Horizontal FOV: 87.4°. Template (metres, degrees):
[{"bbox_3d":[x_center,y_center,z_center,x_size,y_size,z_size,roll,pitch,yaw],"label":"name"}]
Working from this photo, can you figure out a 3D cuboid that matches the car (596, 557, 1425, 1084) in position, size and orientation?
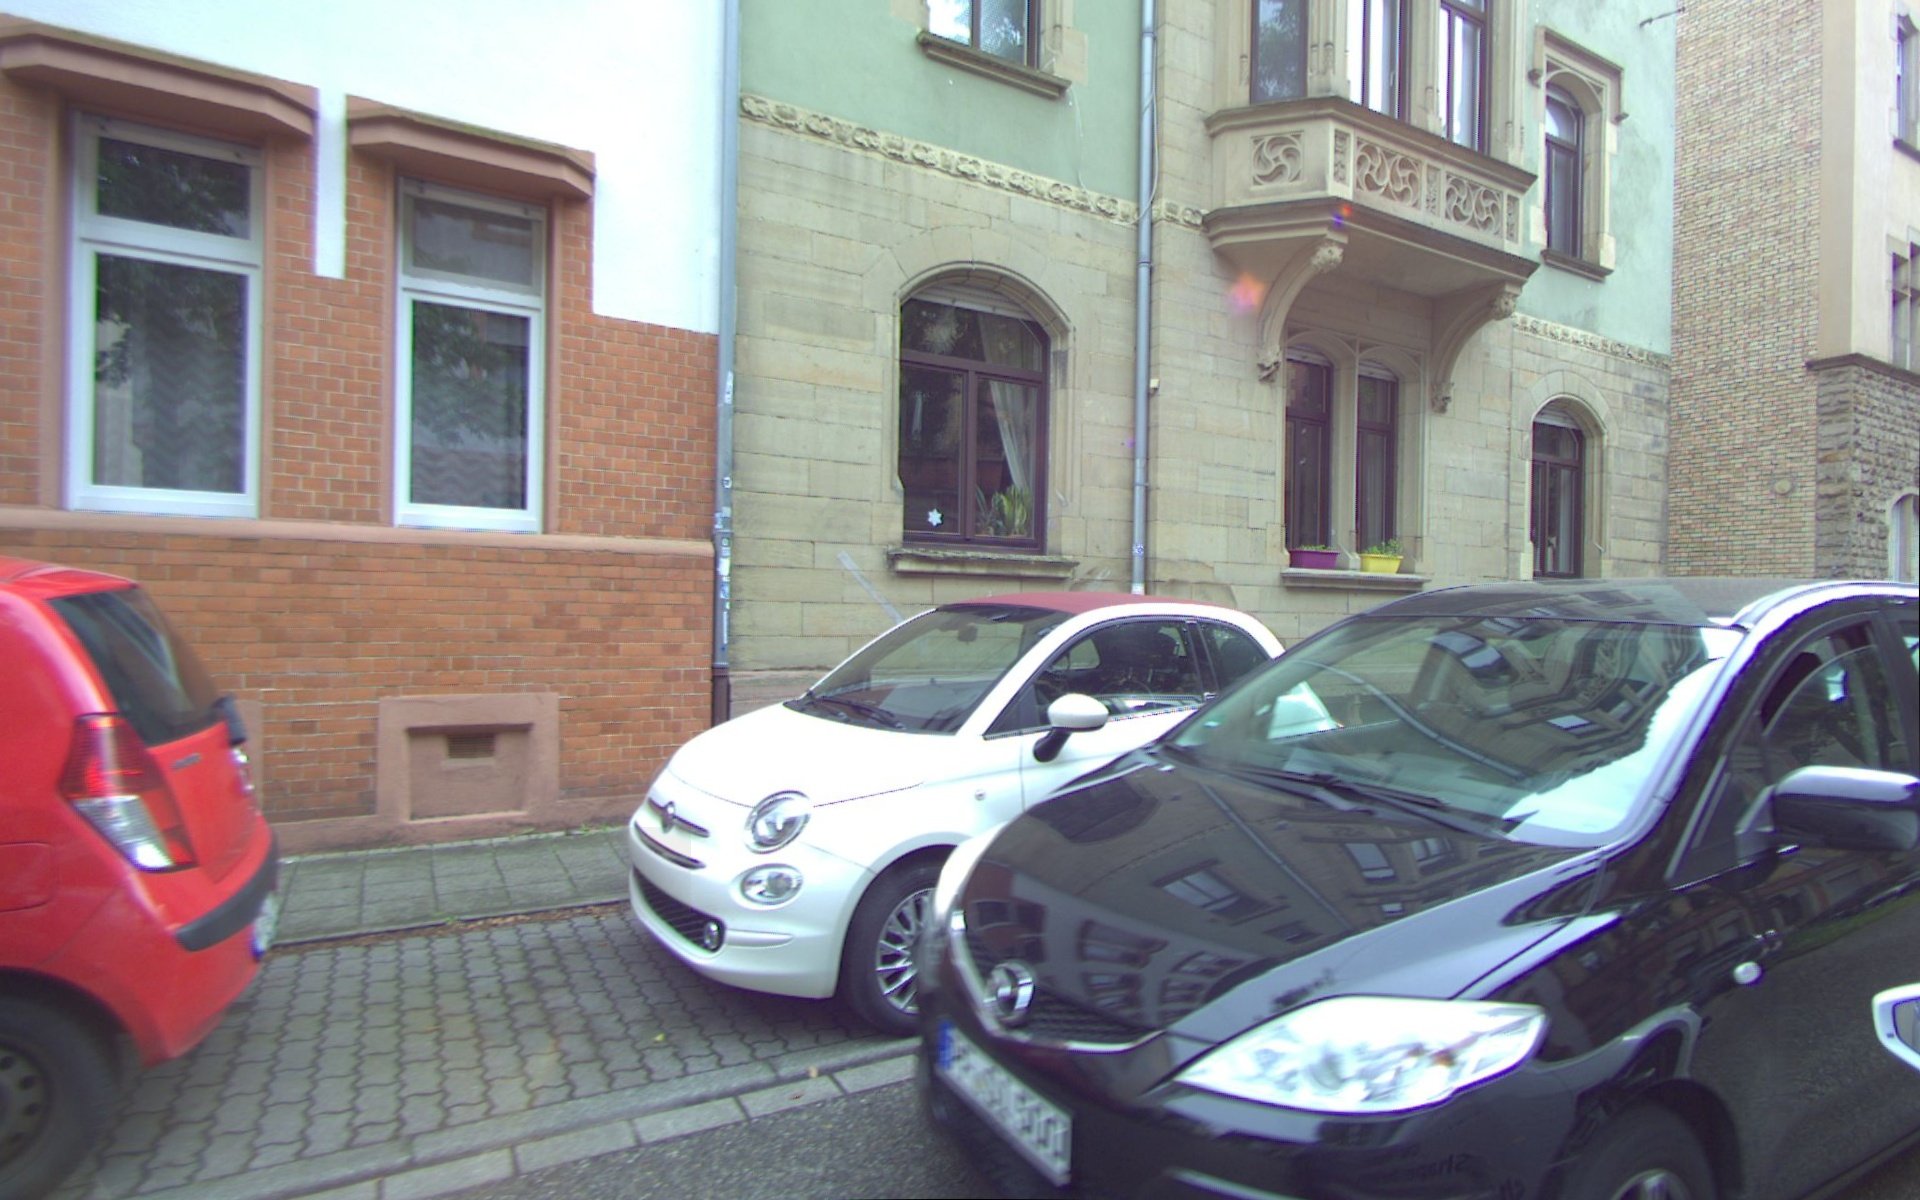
[{"bbox_3d":[0.359,0.667,4.604,3.517,1.531,1.655,1,0,-34],"label":"car"}]

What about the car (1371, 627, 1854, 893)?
[{"bbox_3d":[4.747,0.957,7.242,3.414,1.453,1.510,1,1,-30],"label":"car"}]

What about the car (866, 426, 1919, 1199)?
[{"bbox_3d":[1.983,0.656,3.134,4.156,1.651,1.802,2,-1,-29],"label":"car"}]

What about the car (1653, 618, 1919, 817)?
[{"bbox_3d":[8.214,0.927,9.266,3.766,1.453,1.581,1,1,-31],"label":"car"}]

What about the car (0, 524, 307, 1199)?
[{"bbox_3d":[-3.575,0.579,2.164,3.526,1.551,1.458,1,1,-30],"label":"car"}]
